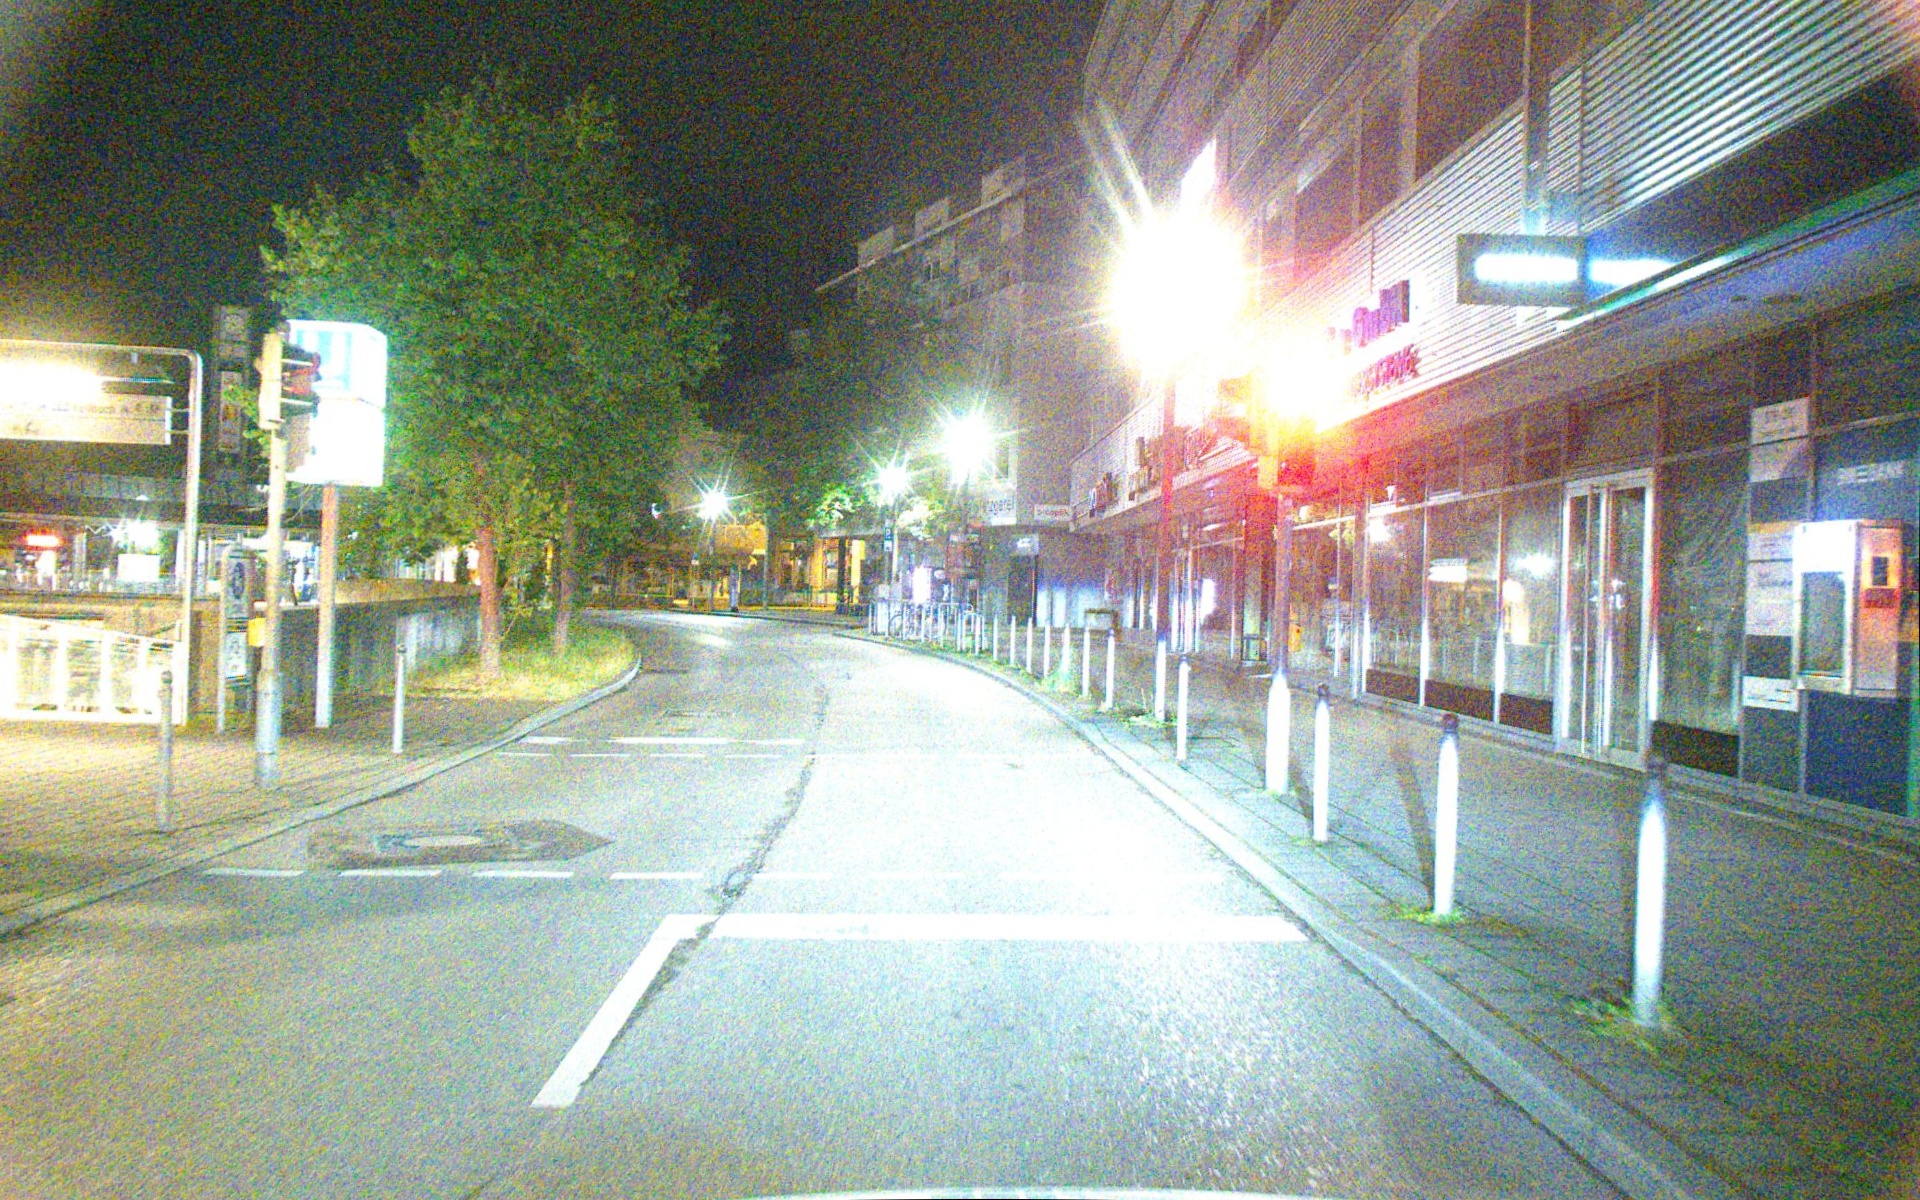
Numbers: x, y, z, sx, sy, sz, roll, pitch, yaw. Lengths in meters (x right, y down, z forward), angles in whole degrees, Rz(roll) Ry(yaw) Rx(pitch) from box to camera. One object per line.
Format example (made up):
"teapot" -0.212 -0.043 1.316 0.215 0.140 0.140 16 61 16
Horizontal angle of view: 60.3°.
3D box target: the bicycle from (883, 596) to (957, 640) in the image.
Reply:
"bicycle" -1.011 0.457 41.803 1.728 1.081 0.650 1 1 -26

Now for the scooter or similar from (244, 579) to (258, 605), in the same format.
"scooter or similar" -35.920 -0.424 83.775 0.426 1.307 1.133 0 2 -35

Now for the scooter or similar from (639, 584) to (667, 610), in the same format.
"scooter or similar" -15.592 -0.155 84.035 1.232 1.248 0.593 3 0 -29
